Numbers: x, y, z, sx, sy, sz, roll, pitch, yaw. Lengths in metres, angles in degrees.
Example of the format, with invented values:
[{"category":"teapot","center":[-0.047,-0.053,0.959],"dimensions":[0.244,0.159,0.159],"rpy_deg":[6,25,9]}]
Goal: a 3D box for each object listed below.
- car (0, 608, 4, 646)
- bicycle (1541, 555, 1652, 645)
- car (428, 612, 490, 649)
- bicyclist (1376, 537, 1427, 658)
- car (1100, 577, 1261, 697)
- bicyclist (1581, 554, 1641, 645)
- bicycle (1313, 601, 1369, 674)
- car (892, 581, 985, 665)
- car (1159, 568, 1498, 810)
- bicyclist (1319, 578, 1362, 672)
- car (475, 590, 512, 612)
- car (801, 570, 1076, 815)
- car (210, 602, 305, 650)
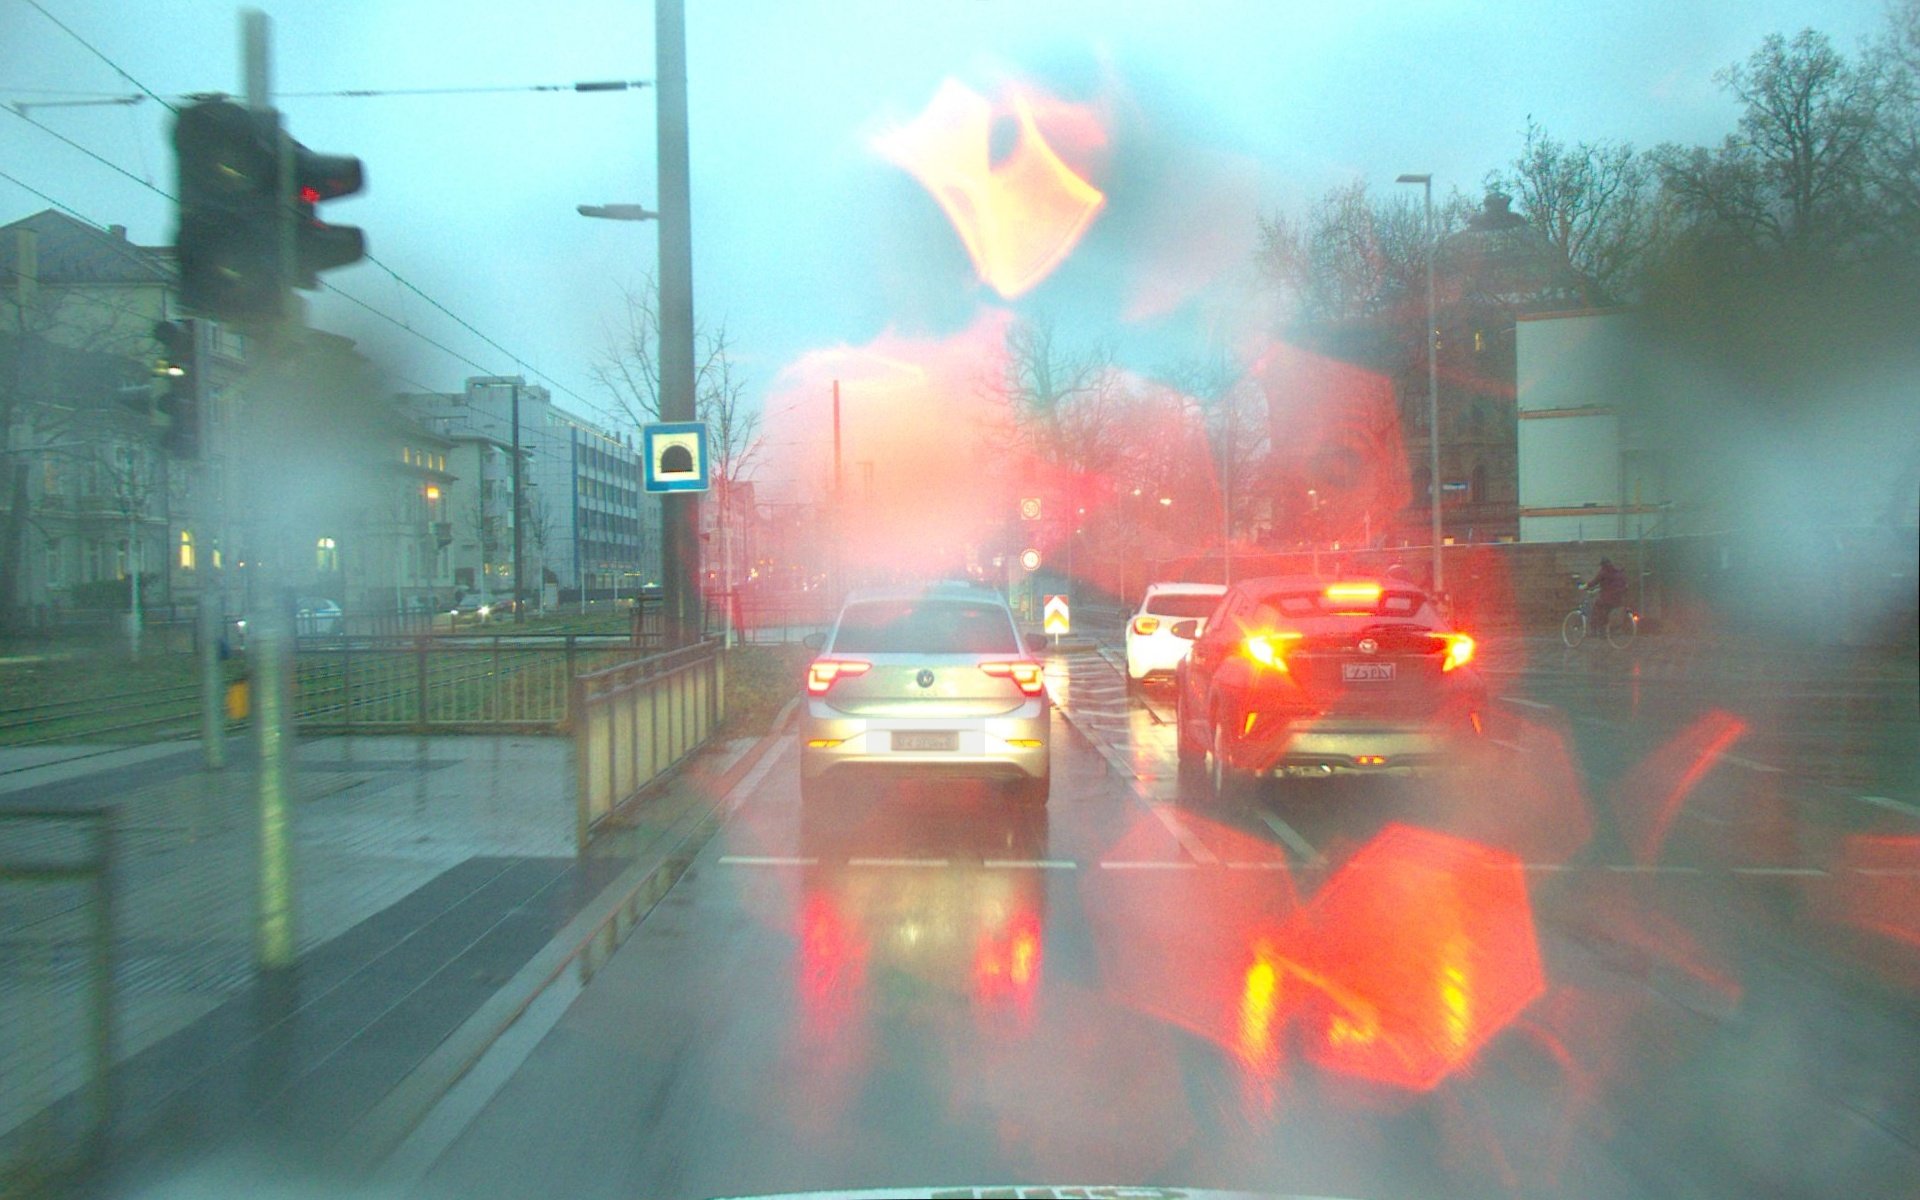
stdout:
[{"category":"car","center":[-38.794,1.026,62.744],"dimensions":[3.907,1.431,1.832],"rpy_deg":[0,-1,-3]},{"category":"bicycle","center":[12.320,-0.005,32.070],"dimensions":[0.678,1.686,2.232],"rpy_deg":[1,0,-22]},{"category":"car","center":[-23.239,1.406,76.873],"dimensions":[1.765,1.613,3.998],"rpy_deg":[1,0,-2]},{"category":"bicyclist","center":[6.754,-0.044,25.327],"dimensions":[0.490,1.798,0.836],"rpy_deg":[-1,1,-3]},{"category":"car","center":[2.972,0.465,23.021],"dimensions":[1.687,1.505,4.000],"rpy_deg":[1,0,0]},{"category":"bicyclist","center":[12.449,-0.019,31.649],"dimensions":[0.685,1.708,0.813],"rpy_deg":[-1,0,-21]},{"category":"bicycle","center":[6.670,0.635,29.035],"dimensions":[0.403,1.206,1.947],"rpy_deg":[-1,1,-3]},{"category":"car","center":[-0.393,0.419,32.293],"dimensions":[1.687,1.505,4.000],"rpy_deg":[1,0,0]},{"category":"car","center":[2.570,0.561,12.454],"dimensions":[1.687,1.505,4.000],"rpy_deg":[1,0,1]},{"category":"bicyclist","center":[6.672,0.423,29.032],"dimensions":[0.490,1.619,0.836],"rpy_deg":[-1,1,-3]},{"category":"car","center":[-33.931,0.077,120.314],"dimensions":[1.770,1.461,3.924],"rpy_deg":[-2,1,-4]},{"category":"car","center":[-0.137,0.573,12.277],"dimensions":[1.687,1.505,4.000],"rpy_deg":[1,0,0]},{"category":"car","center":[-24.967,0.904,58.929],"dimensions":[1.765,1.613,3.998],"rpy_deg":[1,0,-2]}]
